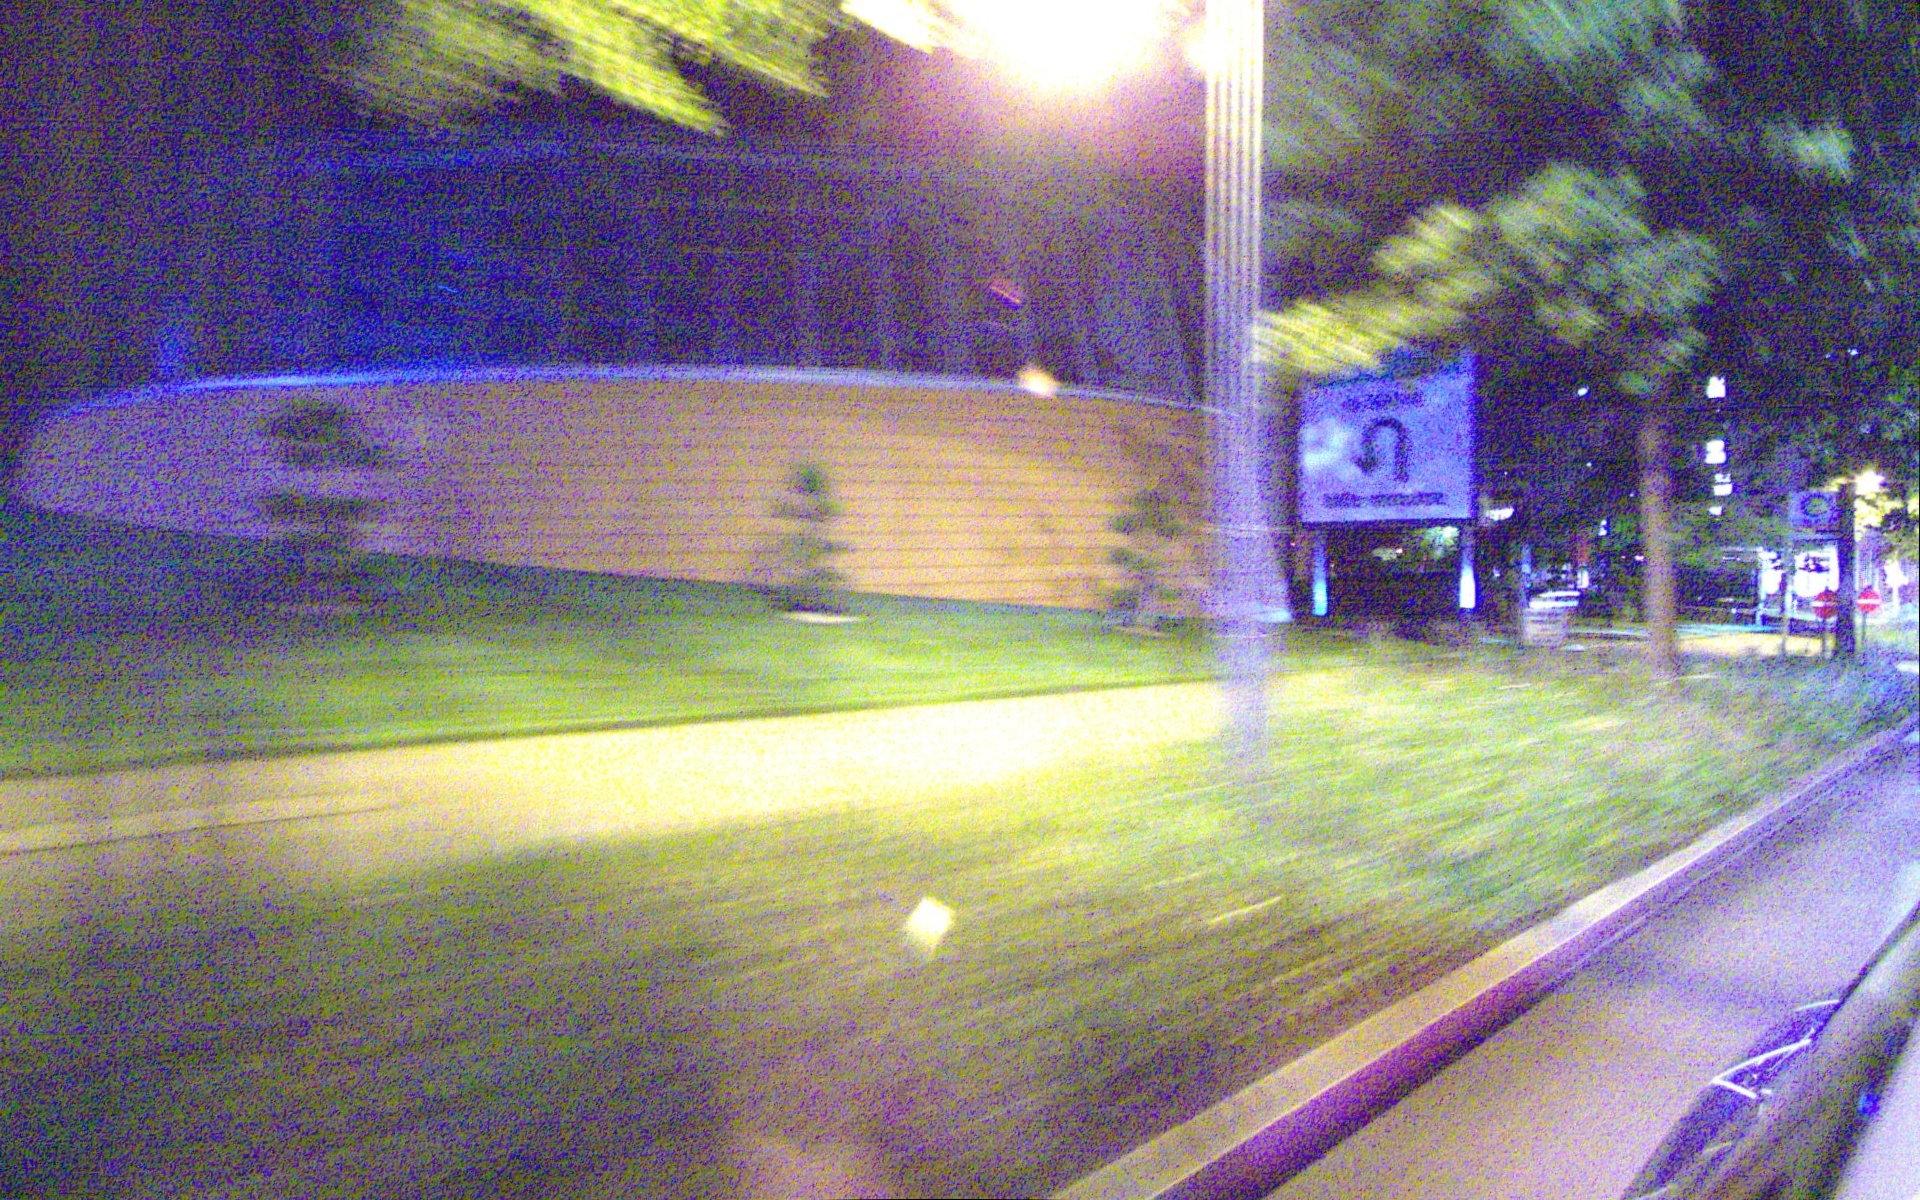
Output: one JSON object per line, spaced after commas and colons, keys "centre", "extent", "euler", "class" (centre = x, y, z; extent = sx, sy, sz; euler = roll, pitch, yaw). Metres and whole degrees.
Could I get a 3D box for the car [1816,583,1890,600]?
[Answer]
{"centre": [66.965, -0.656, 75.908], "extent": [3.933, 1.047, 1.481], "euler": [3, 1, 8], "class": "car"}
